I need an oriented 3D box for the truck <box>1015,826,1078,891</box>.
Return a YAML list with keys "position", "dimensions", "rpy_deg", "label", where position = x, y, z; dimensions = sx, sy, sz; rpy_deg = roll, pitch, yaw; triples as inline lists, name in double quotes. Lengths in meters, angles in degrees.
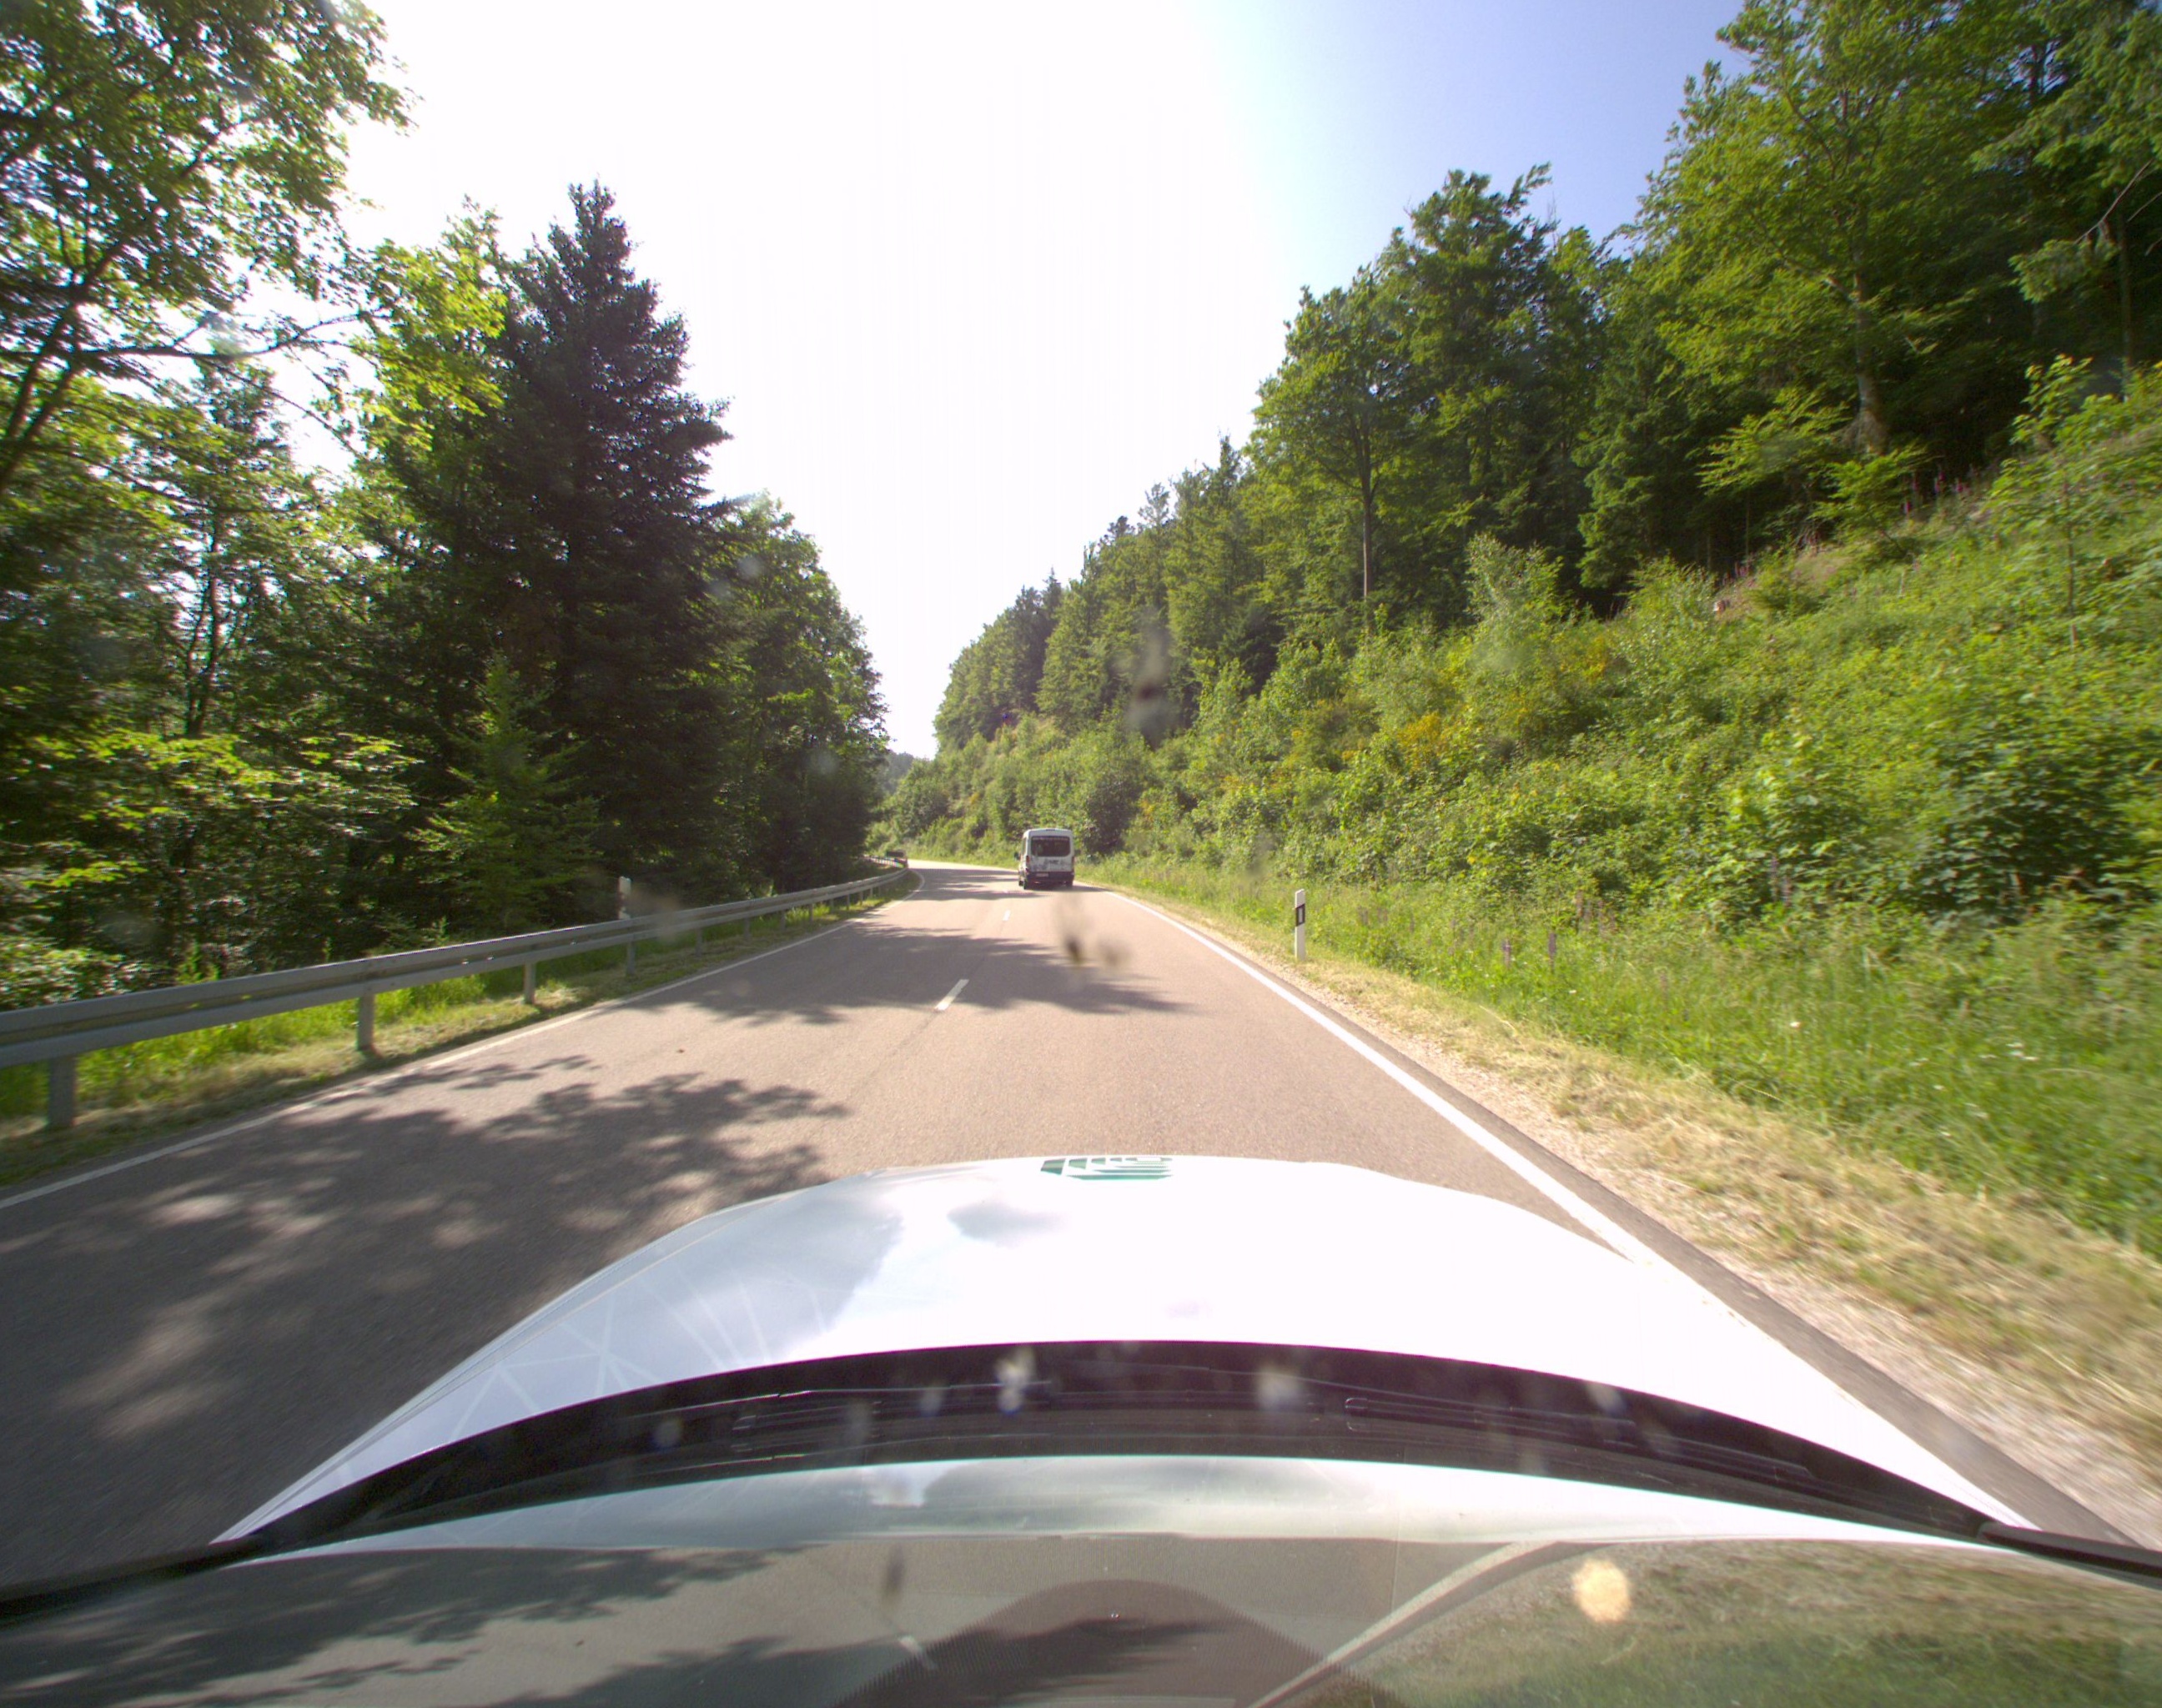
- position: [-1.558, 0.158, 34.725]
  dimensions: [2.114, 2.498, 5.344]
  rpy_deg: [-1, 0, -8]
  label: "truck"
